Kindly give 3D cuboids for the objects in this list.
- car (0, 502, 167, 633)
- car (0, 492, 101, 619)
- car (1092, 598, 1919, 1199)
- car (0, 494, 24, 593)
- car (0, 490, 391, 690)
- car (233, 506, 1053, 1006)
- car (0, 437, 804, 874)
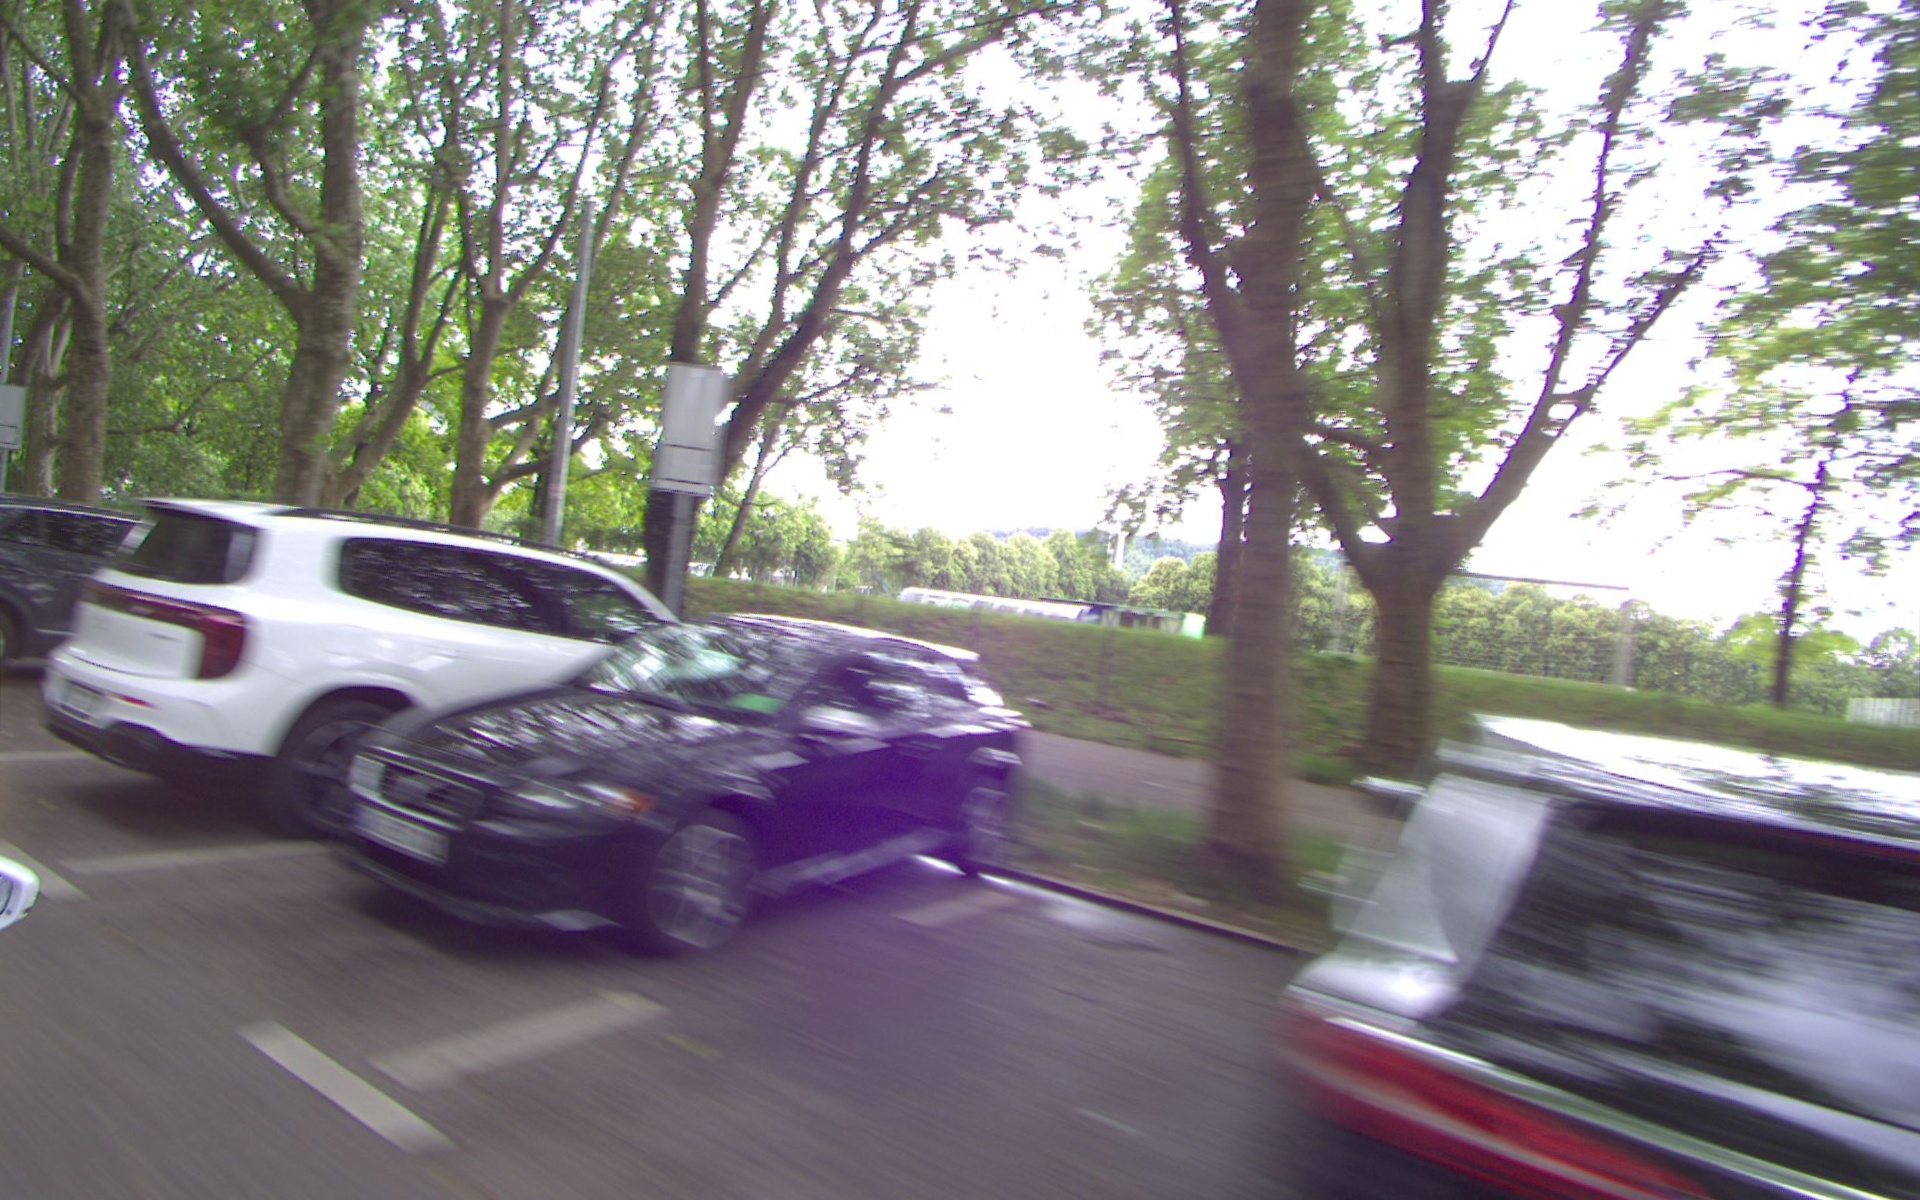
[{"bbox_3d":[-11.960,-0.541,11.724,1.665,1.405,3.836,7,-2,30],"label":"car"},{"bbox_3d":[-14.133,-0.804,13.254,1.665,1.626,3.836,7,-2,30],"label":"car"},{"bbox_3d":[2.003,1.070,2.963,1.674,1.543,4.513,7,-2,29],"label":"car"},{"bbox_3d":[-16.165,-1.113,14.259,1.665,1.472,3.836,7,-2,30],"label":"car"},{"bbox_3d":[-7.718,-0.085,9.182,1.665,1.503,3.996,7,-2,30],"label":"car"},{"bbox_3d":[-1.182,0.677,5.580,1.671,1.575,4.195,7,-2,29],"label":"car"},{"bbox_3d":[-3.167,0.369,6.497,1.770,1.775,4.395,7,-2,29],"label":"car"}]
